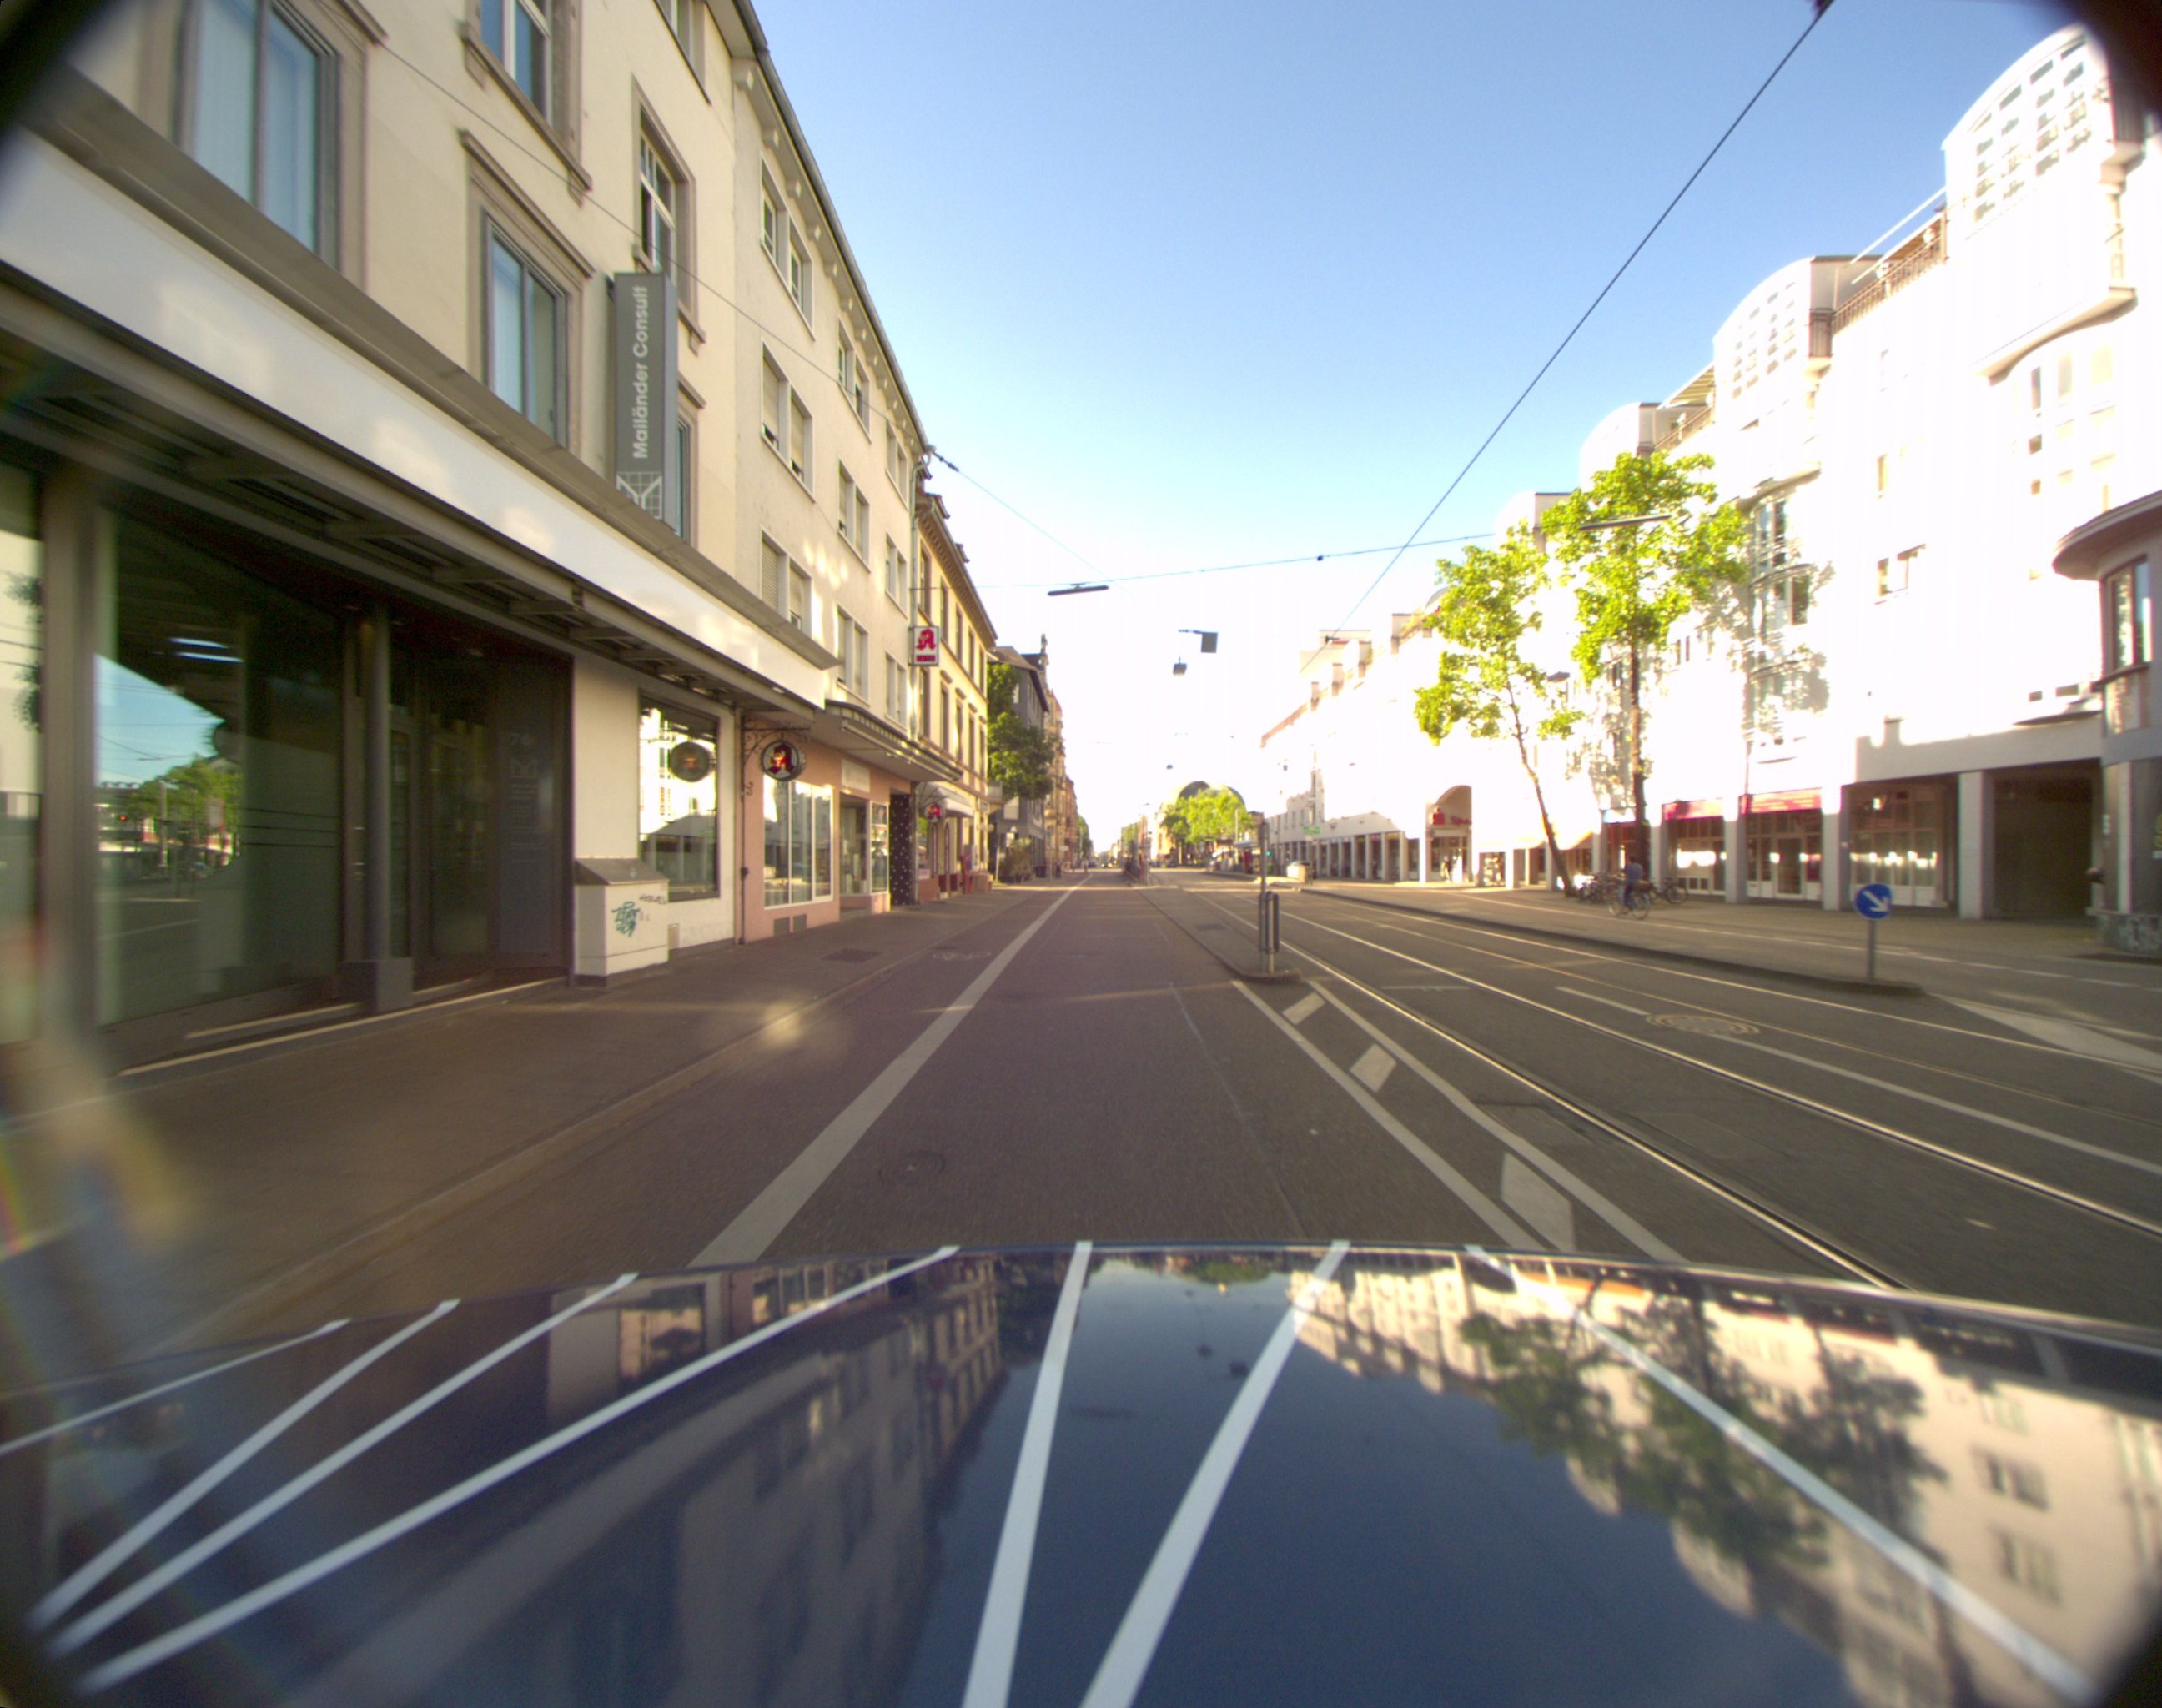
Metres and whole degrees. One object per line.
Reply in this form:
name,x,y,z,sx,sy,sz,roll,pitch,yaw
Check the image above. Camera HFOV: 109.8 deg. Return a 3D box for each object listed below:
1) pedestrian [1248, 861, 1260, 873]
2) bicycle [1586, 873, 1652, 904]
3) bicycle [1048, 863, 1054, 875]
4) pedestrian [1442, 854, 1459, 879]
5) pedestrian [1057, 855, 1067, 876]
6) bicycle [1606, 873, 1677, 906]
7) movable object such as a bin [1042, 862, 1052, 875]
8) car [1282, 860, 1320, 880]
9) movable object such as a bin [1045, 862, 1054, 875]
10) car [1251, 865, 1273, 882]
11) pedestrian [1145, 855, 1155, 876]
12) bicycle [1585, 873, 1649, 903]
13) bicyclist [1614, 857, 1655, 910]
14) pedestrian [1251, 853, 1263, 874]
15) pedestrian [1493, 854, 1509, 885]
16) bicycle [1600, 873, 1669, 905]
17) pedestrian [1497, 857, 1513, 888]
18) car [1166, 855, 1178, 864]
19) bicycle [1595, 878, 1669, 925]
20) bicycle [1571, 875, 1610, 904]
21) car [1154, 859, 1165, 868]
pedestrian,14.375,1.117,63.190,0.794,0.982,0.748,0,0,2
bicycle,18.914,1.192,26.751,1.876,1.071,0.465,0,0,10
bicycle,-2.646,1.313,67.444,0.377,1.052,1.513,-1,-1,2
pedestrian,23.582,0.794,48.558,0.747,1.635,0.731,0,0,2
pedestrian,-1.627,0.950,64.280,0.695,1.680,0.688,5,1,2
bicycle,18.598,1.165,25.241,1.876,1.071,0.465,0,0,10
movable object such as a bin,-2.836,1.224,63.205,0.717,1.062,0.637,-1,0,1
car,18.481,1.332,64.007,1.784,1.531,4.267,2,0,-2
movable object such as a bin,-2.670,1.229,64.108,0.717,1.062,0.637,-1,0,1
car,18.518,1.950,77.824,1.783,1.658,4.775,1,-1,8
pedestrian,5.291,0.873,58.330,0.716,1.635,0.400,0,0,4
bicycle,19.353,1.229,27.474,1.877,1.071,0.512,0,0,7
bicyclist,14.631,0.770,20.108,0.563,1.353,0.719,0,1,3
pedestrian,13.667,0.759,59.116,0.794,1.635,0.748,0,0,2
pedestrian,22.503,0.839,40.740,0.563,1.635,0.523,0,0,2
bicycle,18.744,1.170,25.737,1.876,1.071,0.465,0,0,10
pedestrian,22.739,0.980,40.752,0.563,1.634,0.523,1,0,2
car,18.127,1.105,152.075,1.998,1.608,4.001,-1,-1,2
bicycle,14.680,1.236,20.325,0.564,1.117,2.004,3,0,3
bicycle,17.561,1.196,26.221,0.470,0.926,1.755,0,0,11
car,18.288,2.237,177.541,1.999,1.892,4.000,0,0,-1
